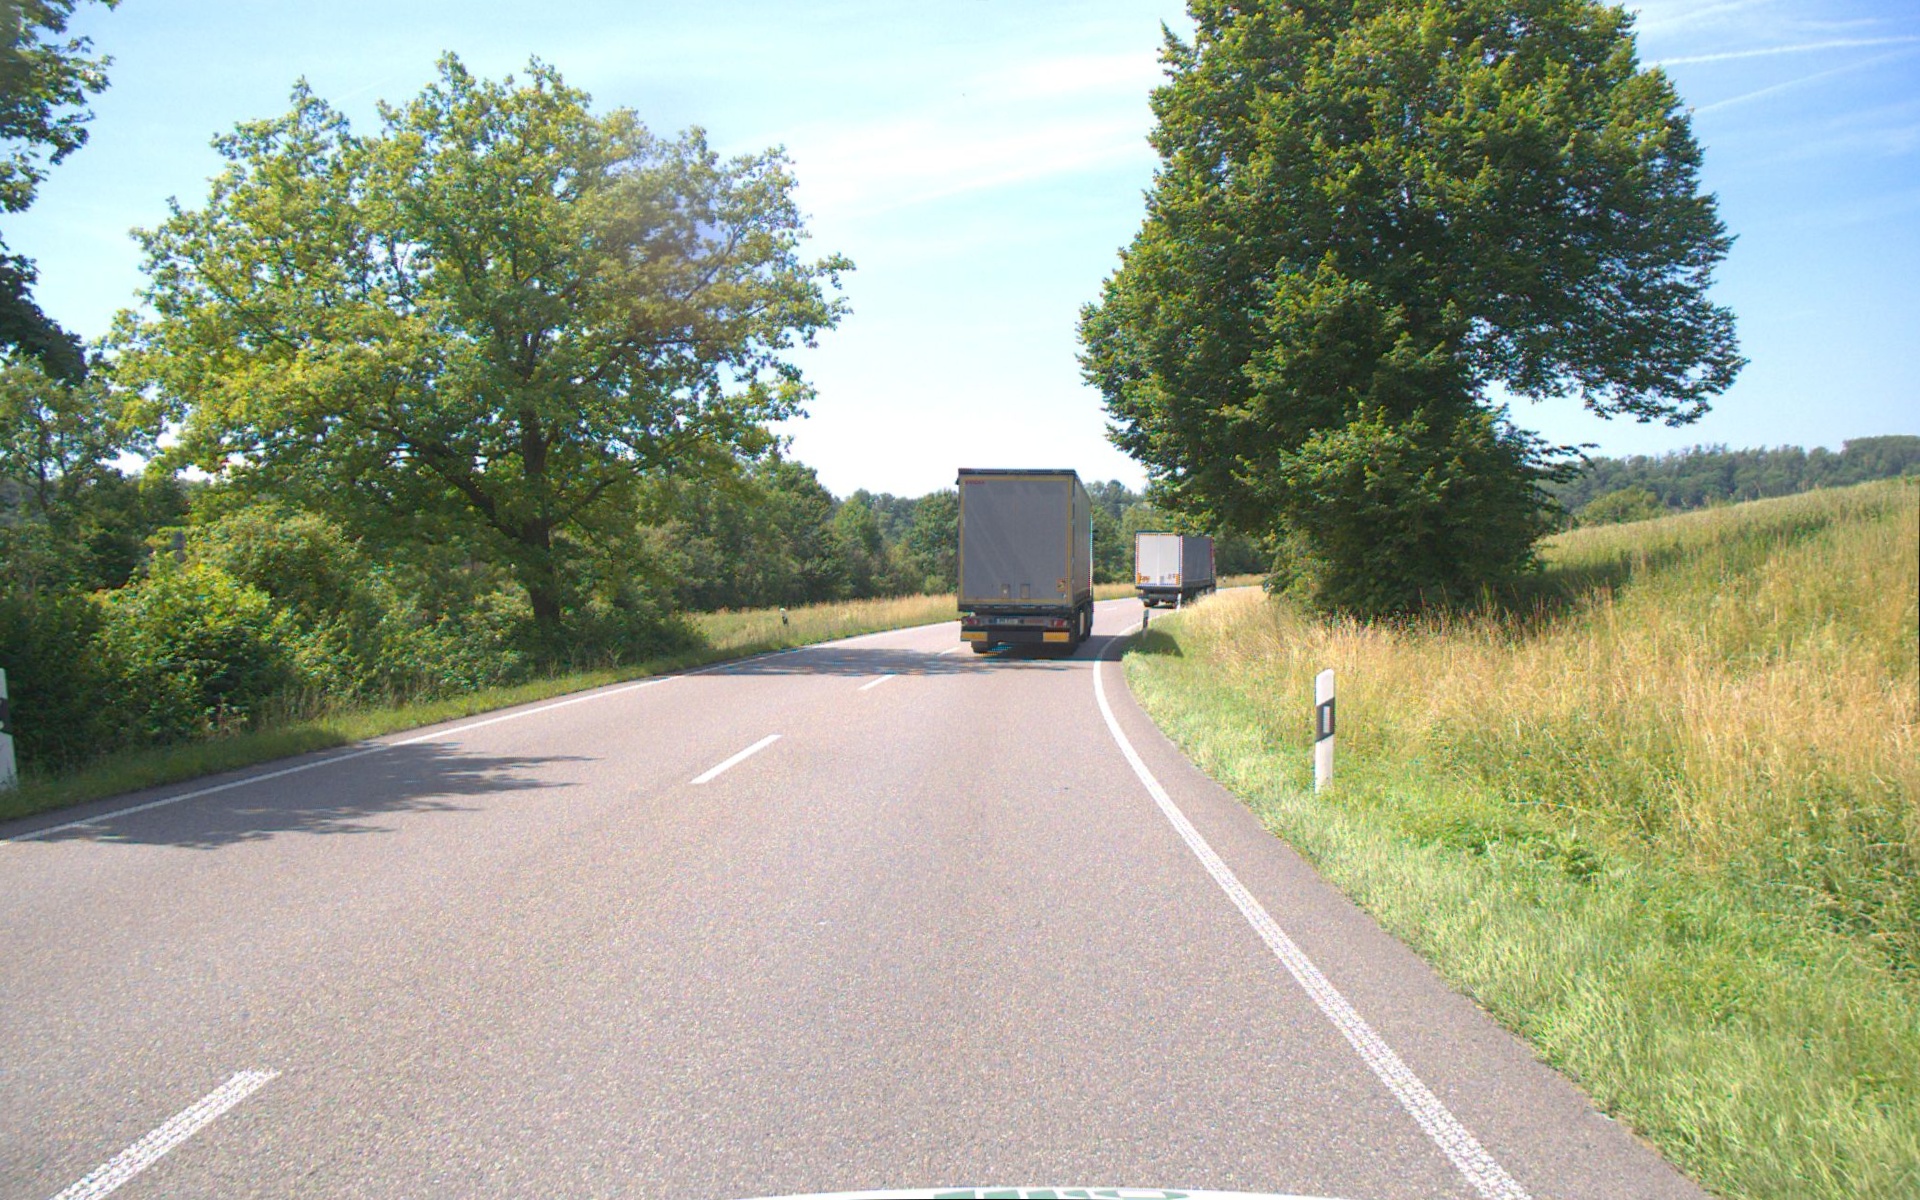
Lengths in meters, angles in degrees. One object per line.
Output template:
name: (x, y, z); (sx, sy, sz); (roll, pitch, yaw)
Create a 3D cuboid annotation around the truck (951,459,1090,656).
truck: (1.881, -0.991, 42.550); (2.742, 4.139, 15.336); (0, 1, 5)

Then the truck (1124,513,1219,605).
truck: (12.318, -2.231, 94.518); (3.039, 4.788, 16.601); (0, 1, 15)
